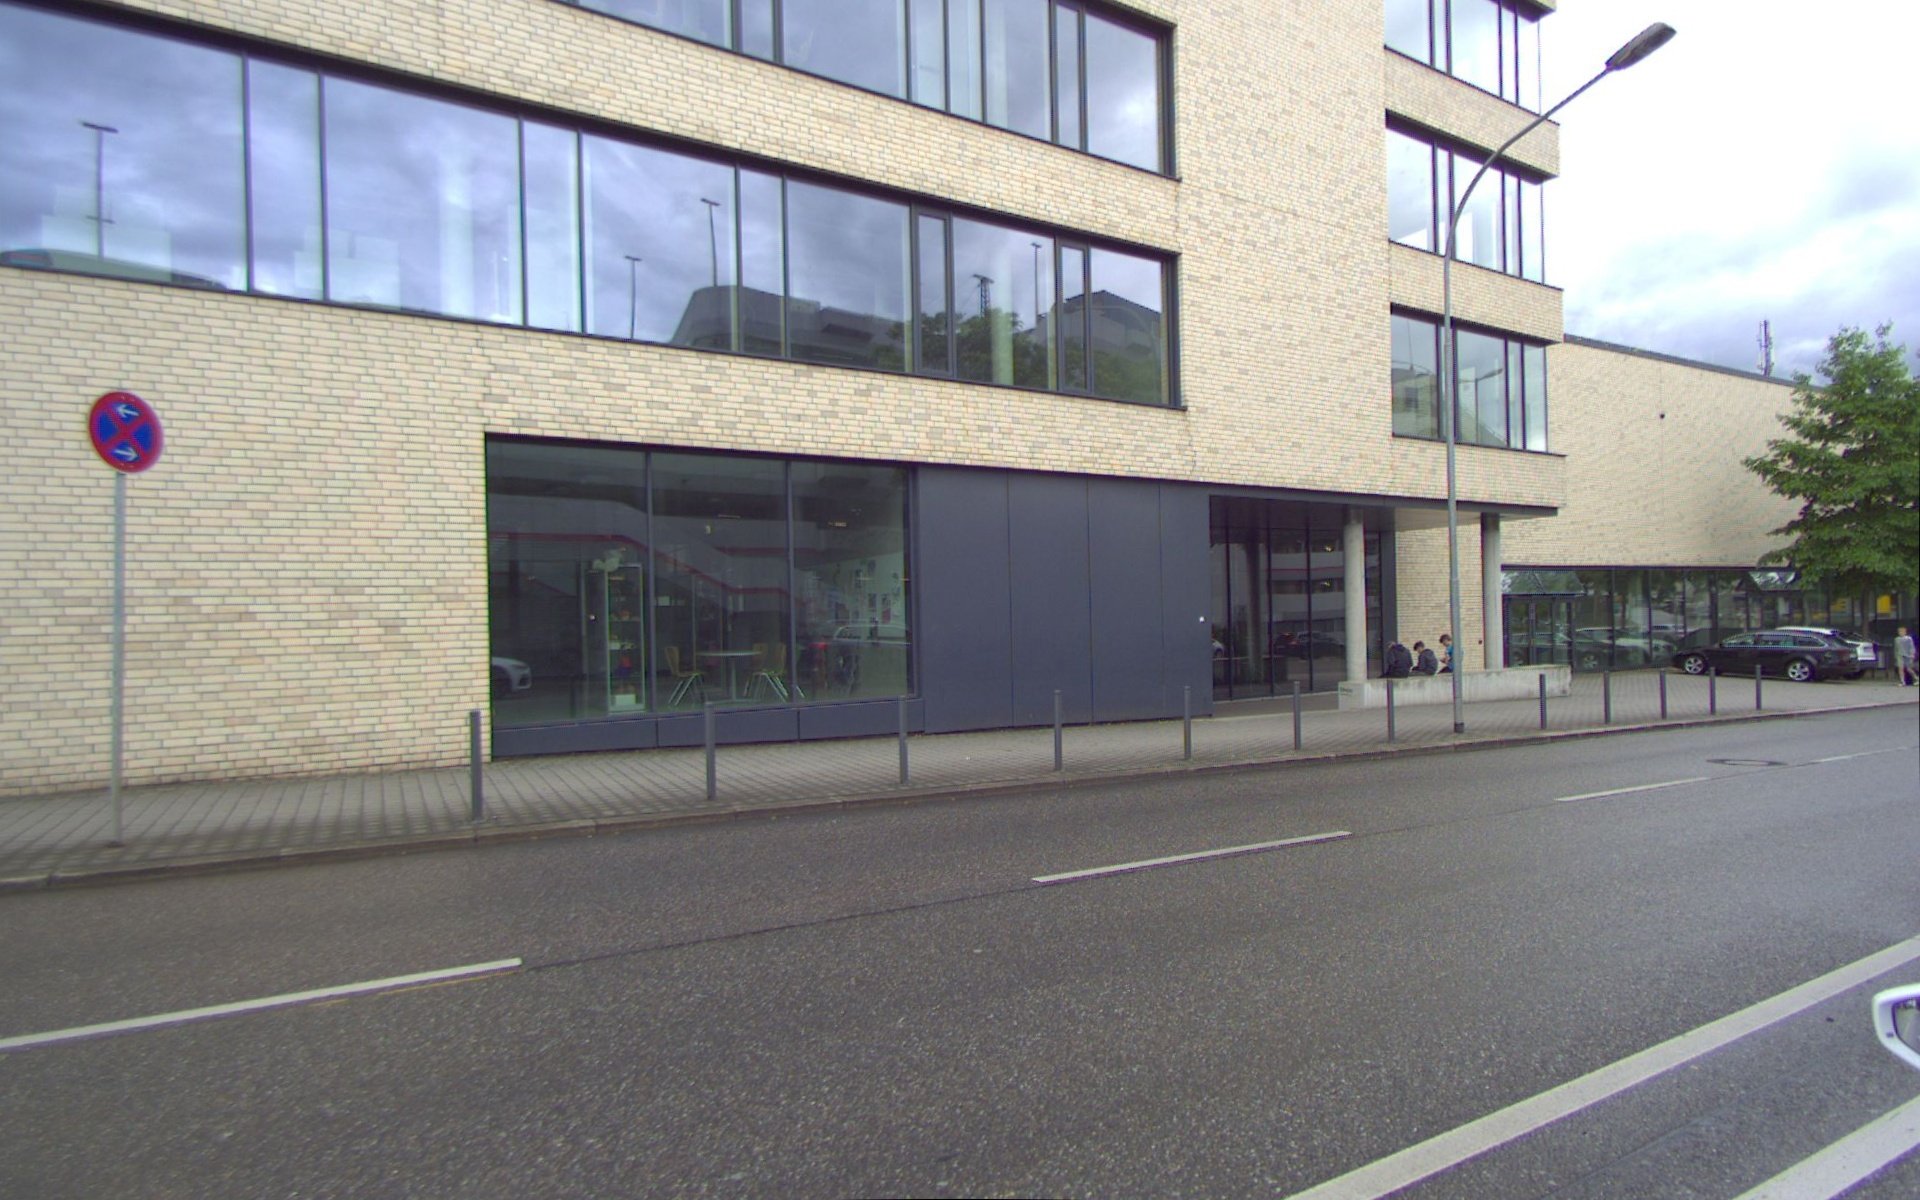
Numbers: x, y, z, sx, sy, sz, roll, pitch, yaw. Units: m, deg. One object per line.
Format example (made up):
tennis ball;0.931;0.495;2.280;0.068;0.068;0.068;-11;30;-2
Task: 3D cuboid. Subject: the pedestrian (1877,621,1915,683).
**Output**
pedestrian;26.787;1.477;28.752;0.473;1.720;0.673;-2;2;-29

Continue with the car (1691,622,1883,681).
car;26.339;1.566;32.121;1.980;1.595;4.387;-1;1;-35

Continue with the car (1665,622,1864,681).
car;24.645;1.525;30.917;1.980;1.608;4.439;1;-1;-35

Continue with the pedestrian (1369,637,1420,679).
pedestrian;8.826;1.175;20.418;0.751;0.796;0.595;2;0;-29

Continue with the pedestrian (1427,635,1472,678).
pedestrian;10.549;1.210;21.646;0.518;0.897;0.677;2;0;-32

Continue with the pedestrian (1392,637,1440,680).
pedestrian;9.514;1.221;20.956;0.718;0.856;0.584;2;-1;-29

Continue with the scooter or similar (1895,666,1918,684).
scooter or similar;27.207;2.159;28.872;0.608;0.507;0.279;2;0;-28
